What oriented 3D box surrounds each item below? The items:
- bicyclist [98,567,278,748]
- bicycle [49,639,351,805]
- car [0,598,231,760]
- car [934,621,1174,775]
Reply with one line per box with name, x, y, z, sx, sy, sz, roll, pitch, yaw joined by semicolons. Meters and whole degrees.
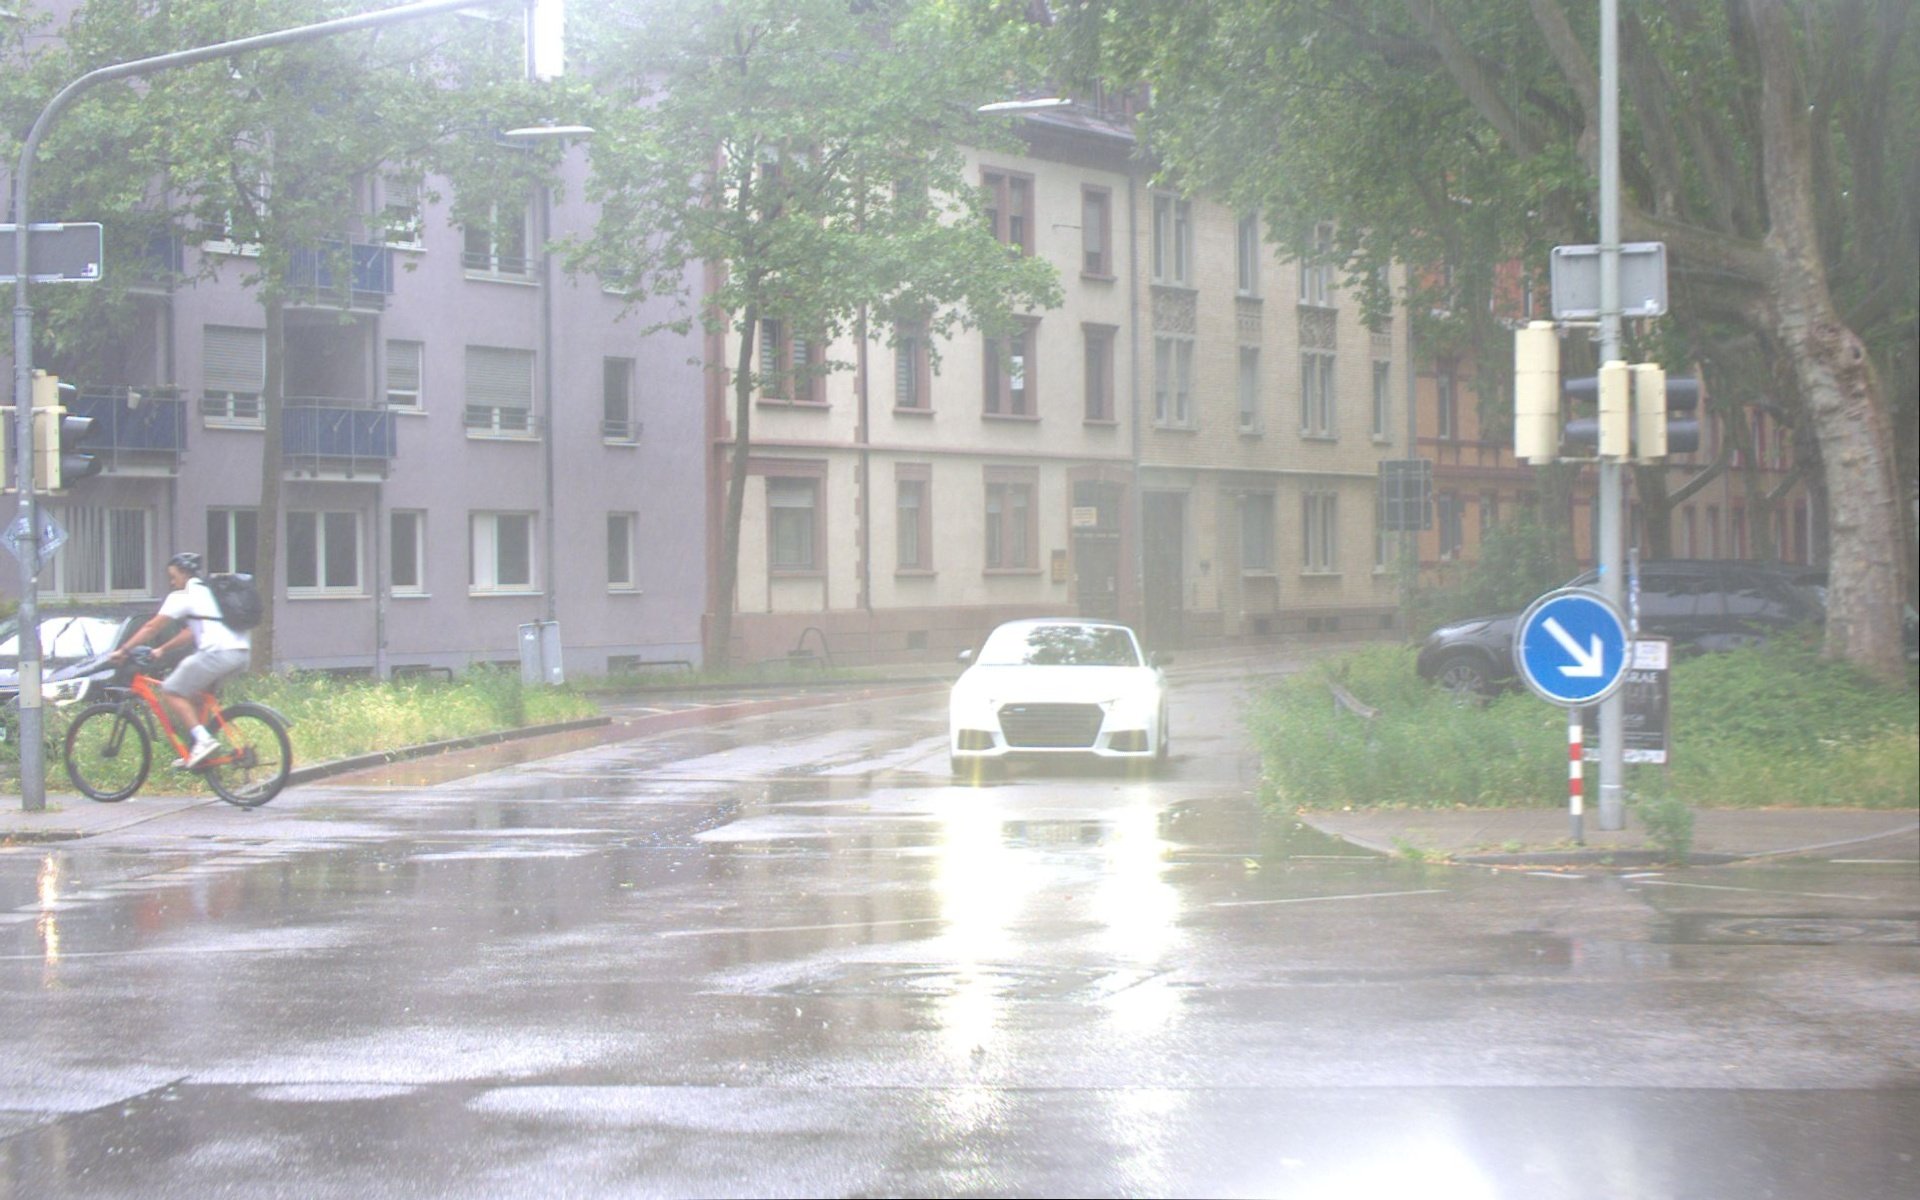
bicyclist;-5.683;0.414;25.341;1.074;1.305;0.742;0;1;11
bicycle;-5.595;0.887;25.347;2.035;1.169;0.753;0;1;11
car;-8.812;0.726;33.741;1.988;1.456;4.176;0;0;7
car;0.916;0.842;30.991;1.897;1.271;4.171;0;0;5
